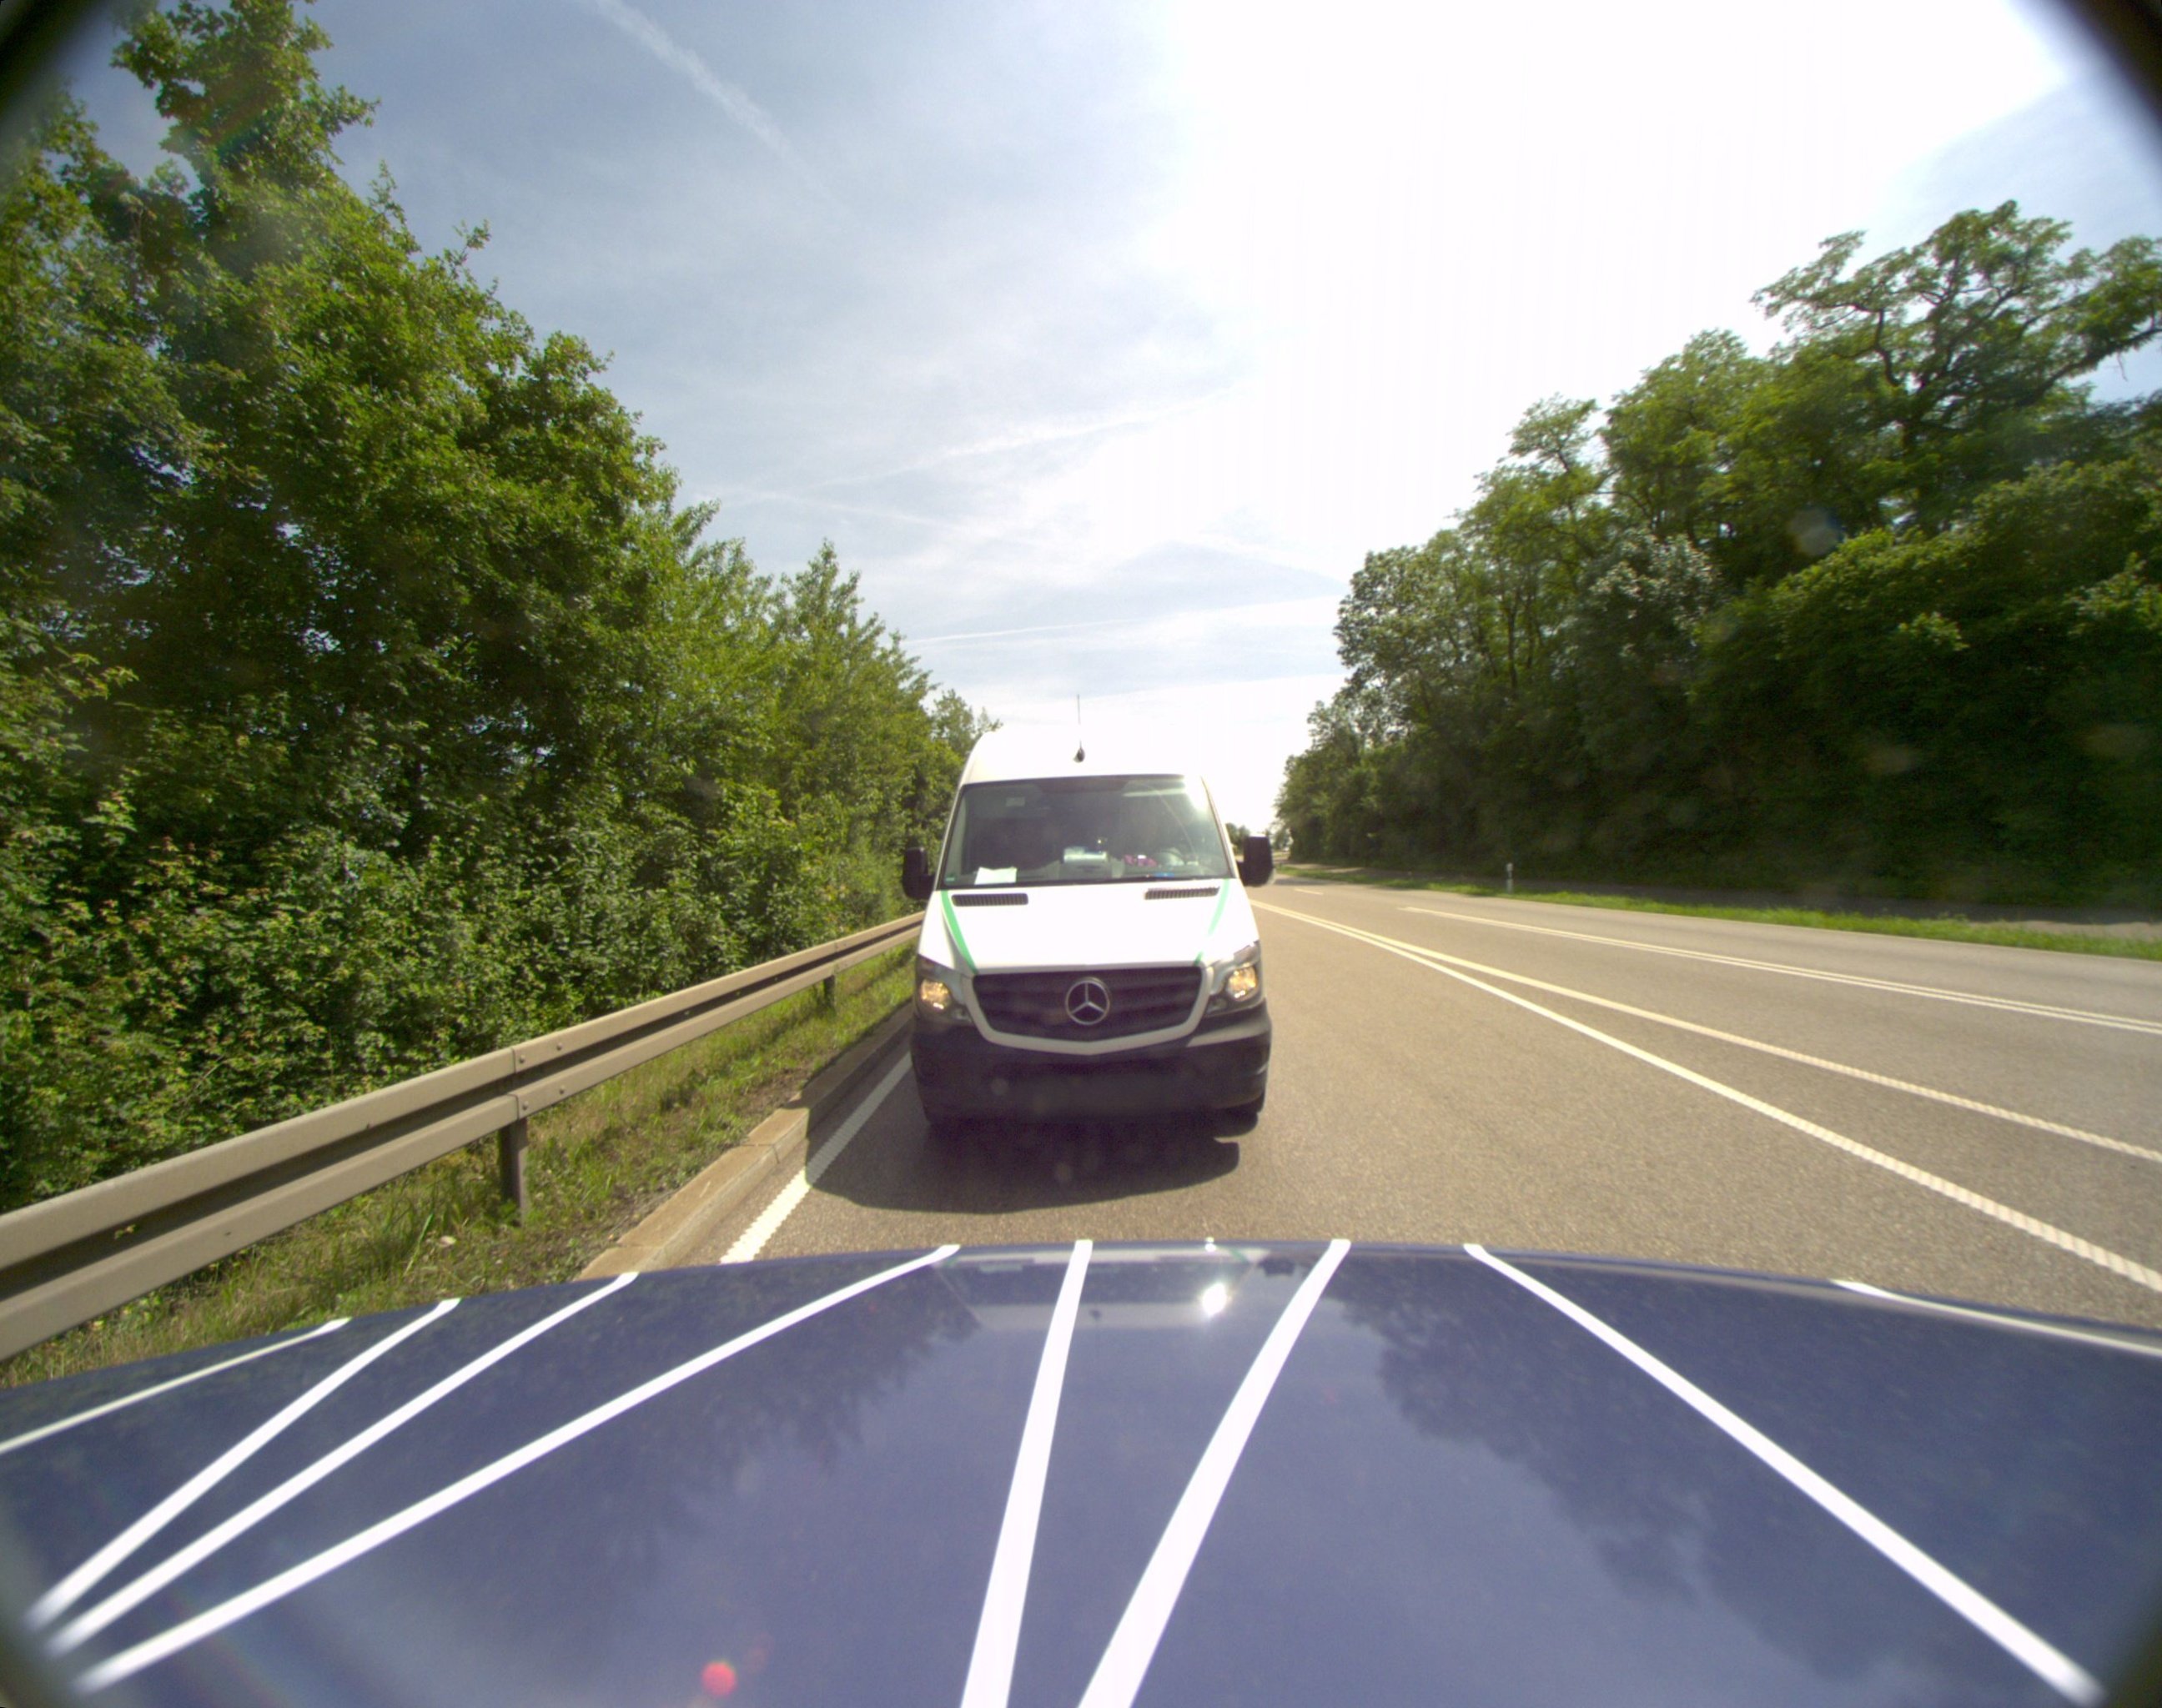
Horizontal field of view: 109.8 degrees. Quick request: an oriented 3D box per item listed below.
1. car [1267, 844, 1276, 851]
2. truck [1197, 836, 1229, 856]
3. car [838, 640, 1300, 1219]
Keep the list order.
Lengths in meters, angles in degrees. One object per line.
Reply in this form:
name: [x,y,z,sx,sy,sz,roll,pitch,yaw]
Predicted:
car: [61.142,-1.998,243.913,1.915,2.002,4.182,-2,1,25]
truck: [31.353,-1.858,179.627,4.391,4.433,14.732,-2,0,21]
car: [0.025,0.350,5.995,1.958,2.502,5.267,-2,0,2]
